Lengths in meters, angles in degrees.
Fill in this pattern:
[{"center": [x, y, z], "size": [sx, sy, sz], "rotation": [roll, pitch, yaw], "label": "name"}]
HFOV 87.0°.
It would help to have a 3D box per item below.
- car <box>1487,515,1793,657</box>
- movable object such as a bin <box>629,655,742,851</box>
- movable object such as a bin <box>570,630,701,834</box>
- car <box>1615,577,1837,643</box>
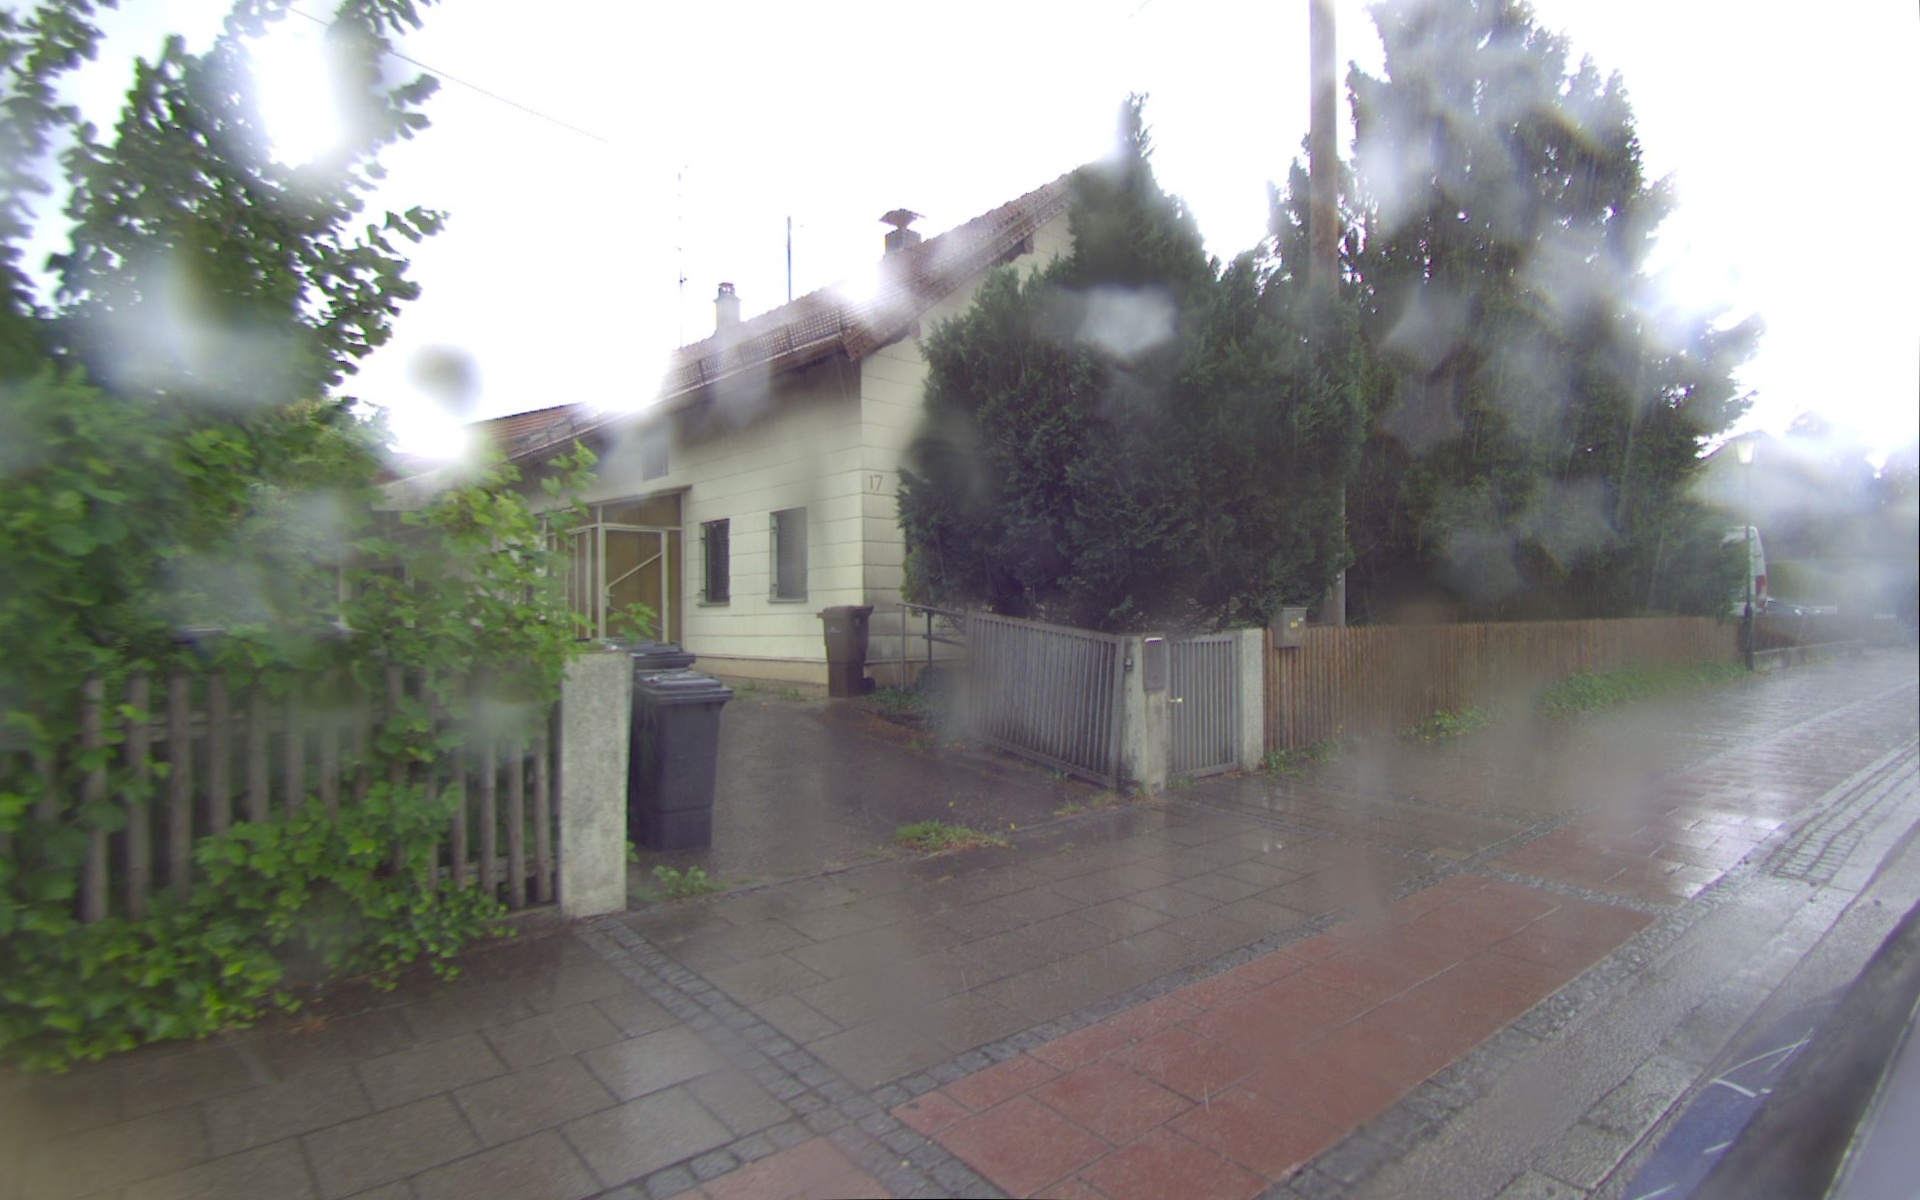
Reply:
[{"center": [14.711, -0.389, 22.125], "size": [5.300, 2.761, 1.970], "rotation": [3, 2, 41], "label": "car"}, {"center": [-1.481, 0.795, 5.451], "size": [0.439, 0.947, 0.434], "rotation": [0, 2, -39], "label": "movable object such as a bin"}, {"center": [-1.891, 0.729, 5.884], "size": [0.543, 1.053, 0.576], "rotation": [0, 2, -39], "label": "movable object such as a bin"}, {"center": [19.798, 0.187, 26.277], "size": [4.429, 1.438, 1.802], "rotation": [3, 3, 43], "label": "car"}]
